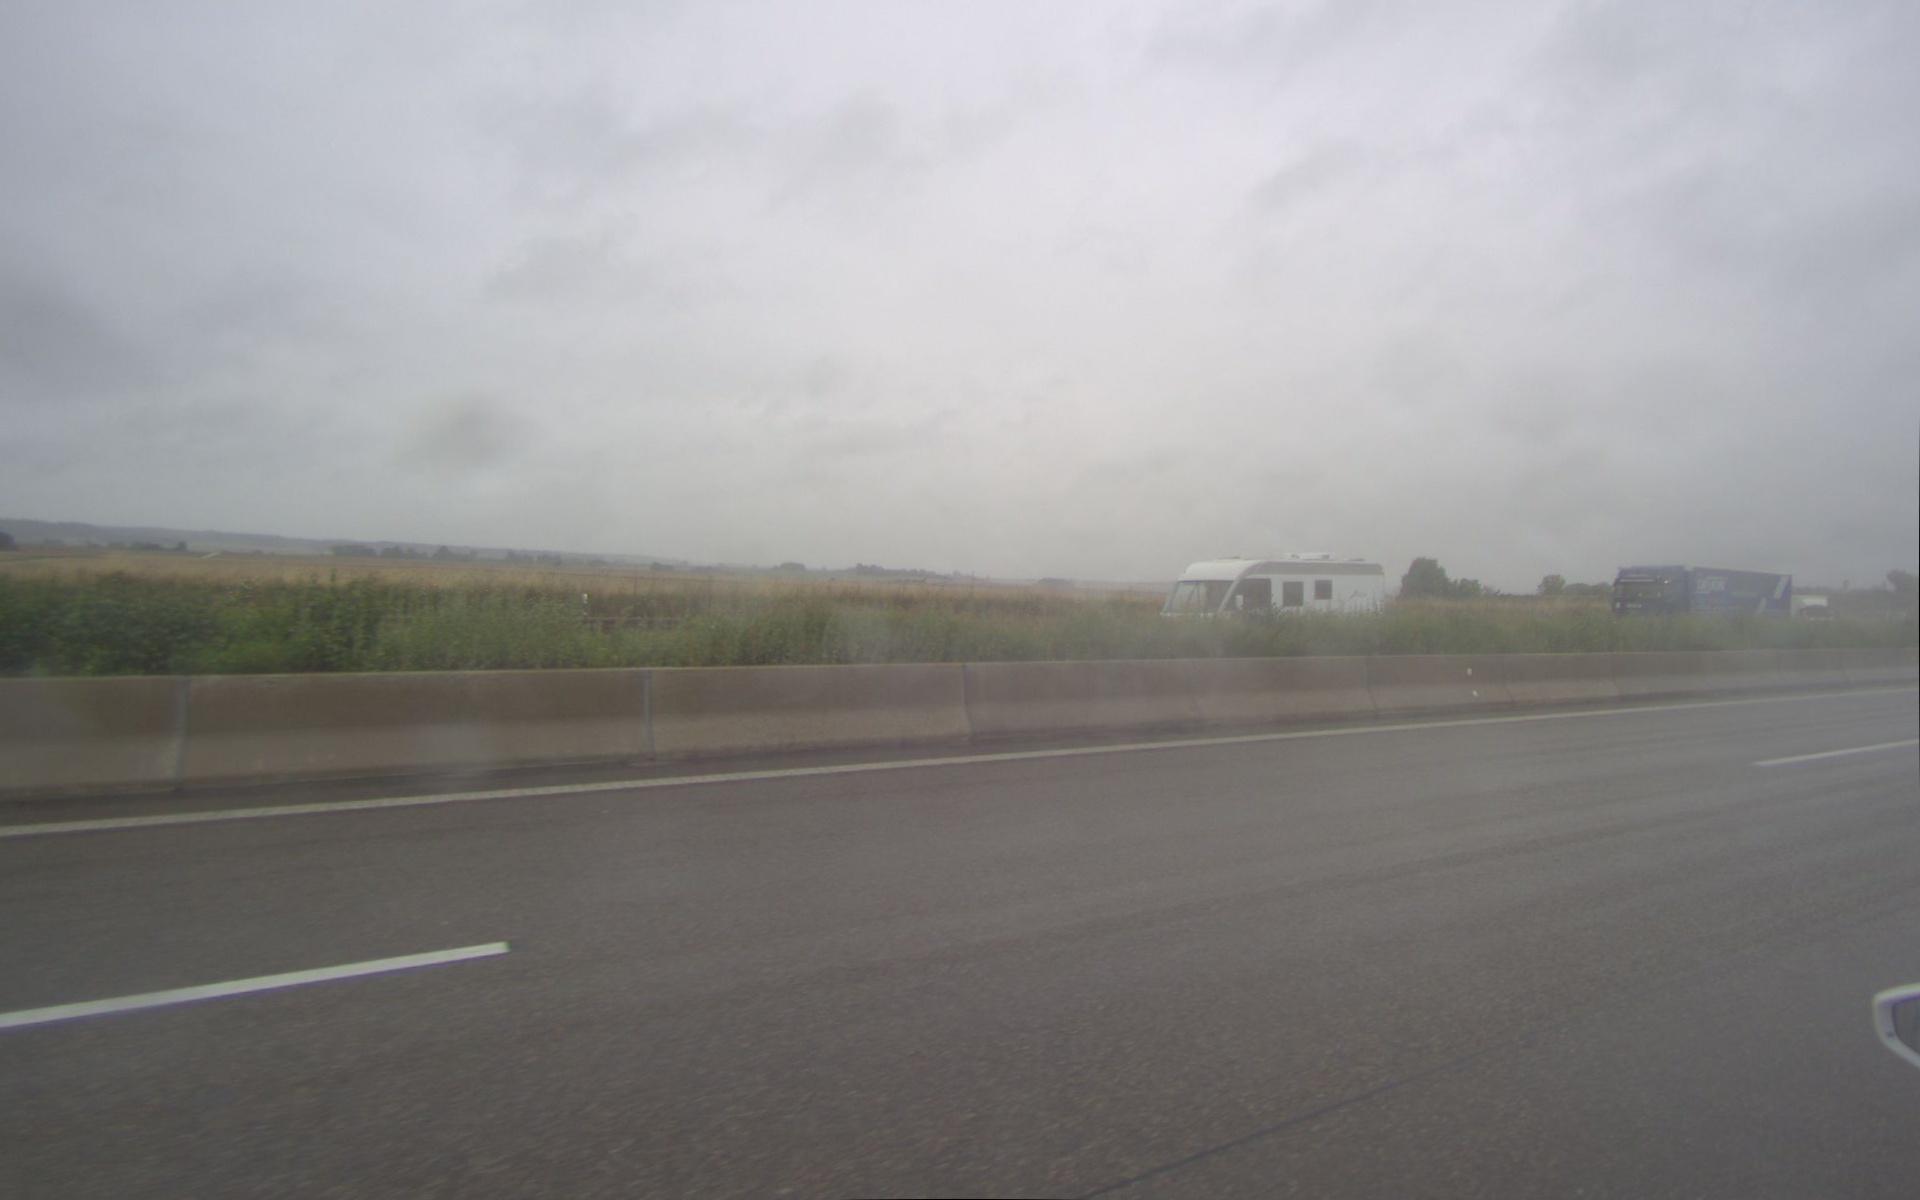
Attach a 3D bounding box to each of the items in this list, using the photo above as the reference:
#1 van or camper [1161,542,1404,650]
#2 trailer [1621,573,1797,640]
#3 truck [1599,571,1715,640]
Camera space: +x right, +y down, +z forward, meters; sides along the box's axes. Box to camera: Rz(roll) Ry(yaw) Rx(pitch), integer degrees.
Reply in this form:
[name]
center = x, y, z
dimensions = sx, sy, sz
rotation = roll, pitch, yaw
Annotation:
[van or camper]
center = 8.630, -0.072, 26.584
dimensions = 6.681, 2.542, 2.360
rotation = 1, 1, -32
[trailer]
center = 42.498, 0.453, 56.724
dimensions = 14.076, 3.463, 3.098
rotation = 1, 0, -32
[truck]
center = 36.915, 0.322, 53.217
dimensions = 5.622, 3.467, 3.083
rotation = 1, 0, -32
